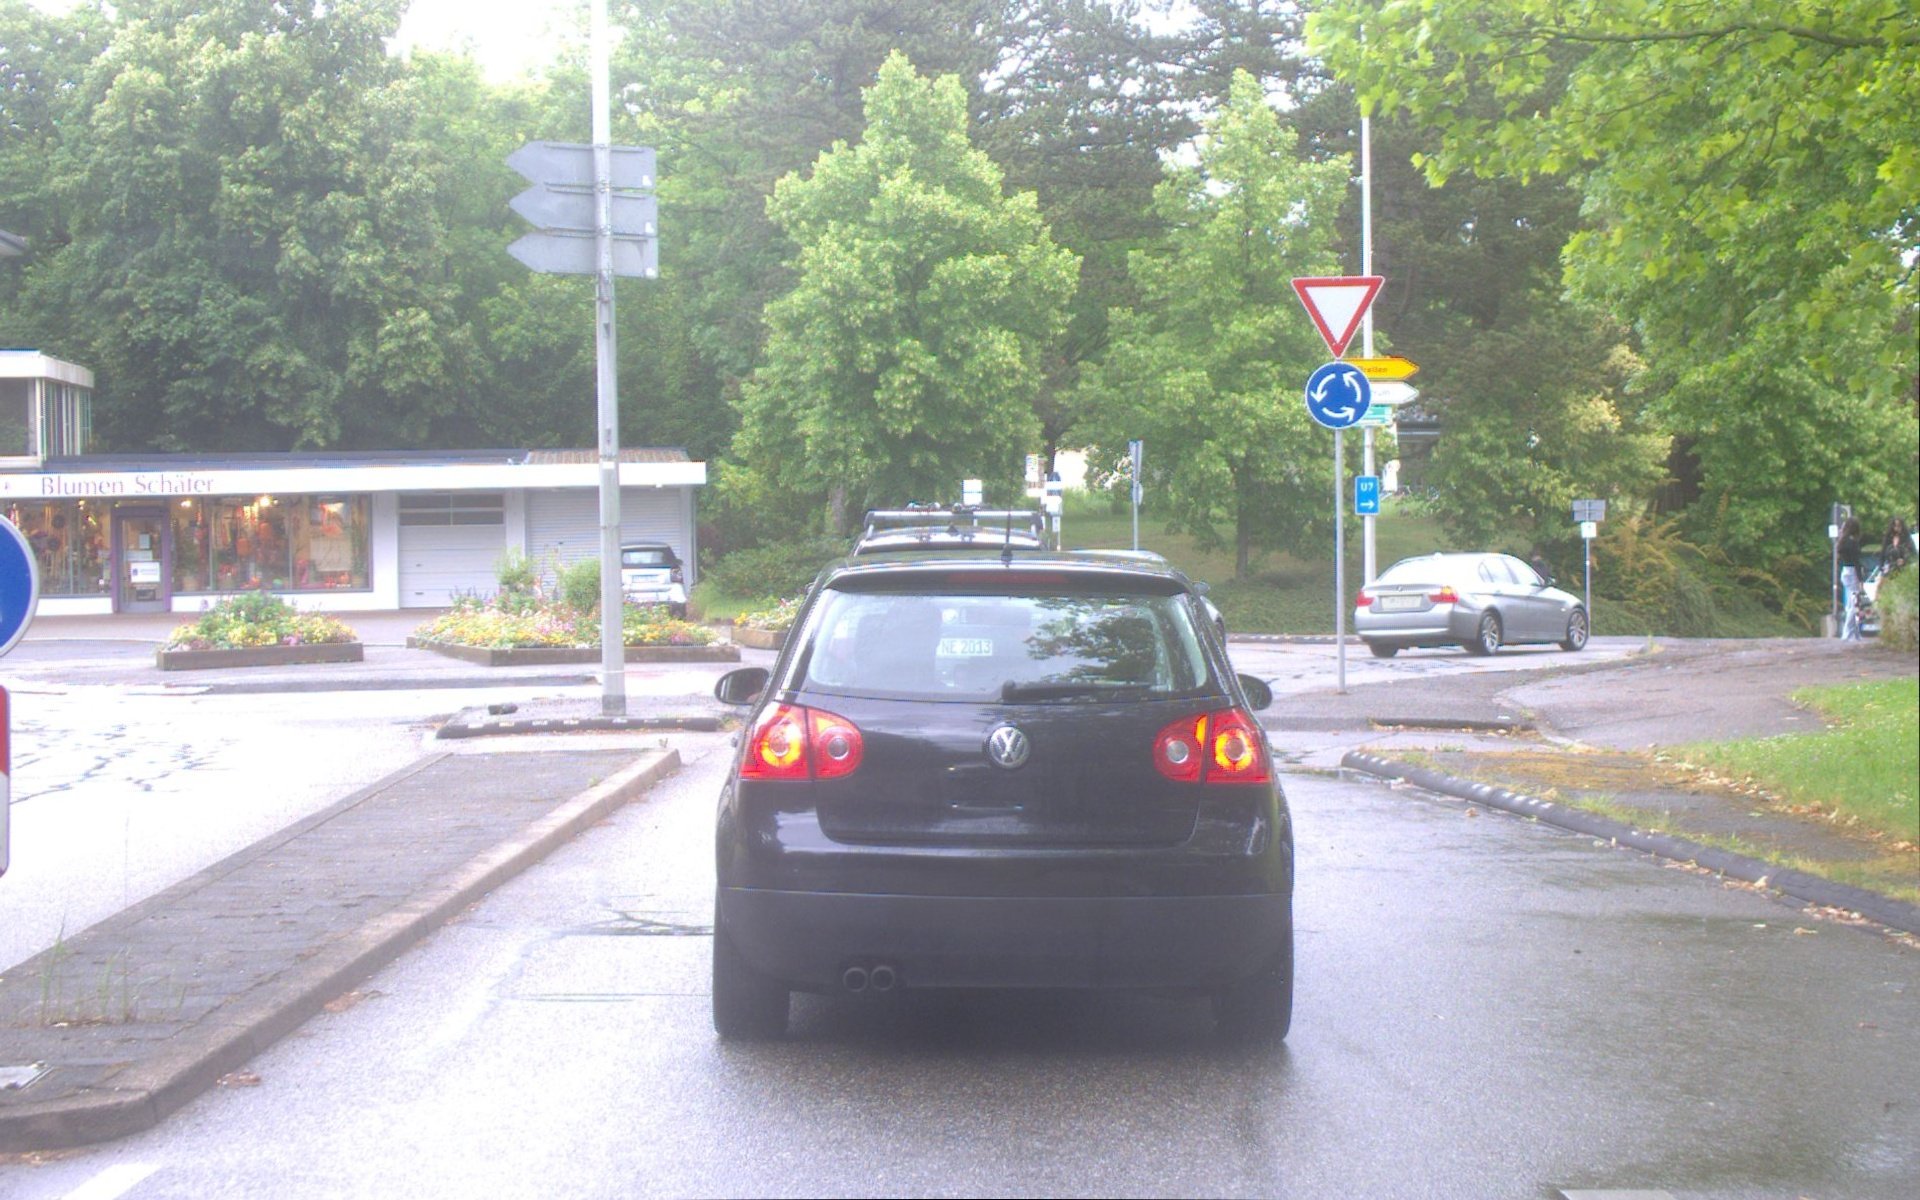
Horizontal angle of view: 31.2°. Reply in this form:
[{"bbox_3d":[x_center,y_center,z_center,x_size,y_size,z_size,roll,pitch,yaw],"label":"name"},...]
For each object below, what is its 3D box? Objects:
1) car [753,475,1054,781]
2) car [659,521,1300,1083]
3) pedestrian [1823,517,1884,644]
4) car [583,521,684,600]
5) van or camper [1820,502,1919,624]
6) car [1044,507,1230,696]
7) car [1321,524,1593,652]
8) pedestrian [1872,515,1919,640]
[{"bbox_3d":[-0.423,0.151,22.901,1.764,1.795,4.246,-2,0,-2],"label":"car"},{"bbox_3d":[0.179,0.521,11.542,1.765,1.533,4.000,1,1,4],"label":"car"},{"bbox_3d":[12.124,-0.259,46.659,0.528,1.707,0.636,1,0,-15],"label":"pedestrian"},{"bbox_3d":[-6.559,-0.802,68.857,1.812,1.481,3.832,-2,1,-8],"label":"car"},{"bbox_3d":[19.804,-0.721,69.351,2.199,2.370,5.654,1,0,44],"label":"van or camper"},{"bbox_3d":[1.835,-0.006,35.780,1.765,1.795,4.246,-2,0,3],"label":"car"},{"bbox_3d":[6.852,-0.166,47.112,1.998,1.678,4.024,1,0,36],"label":"car"},{"bbox_3d":[12.910,-0.309,47.357,0.634,1.707,0.529,1,0,16],"label":"pedestrian"}]
